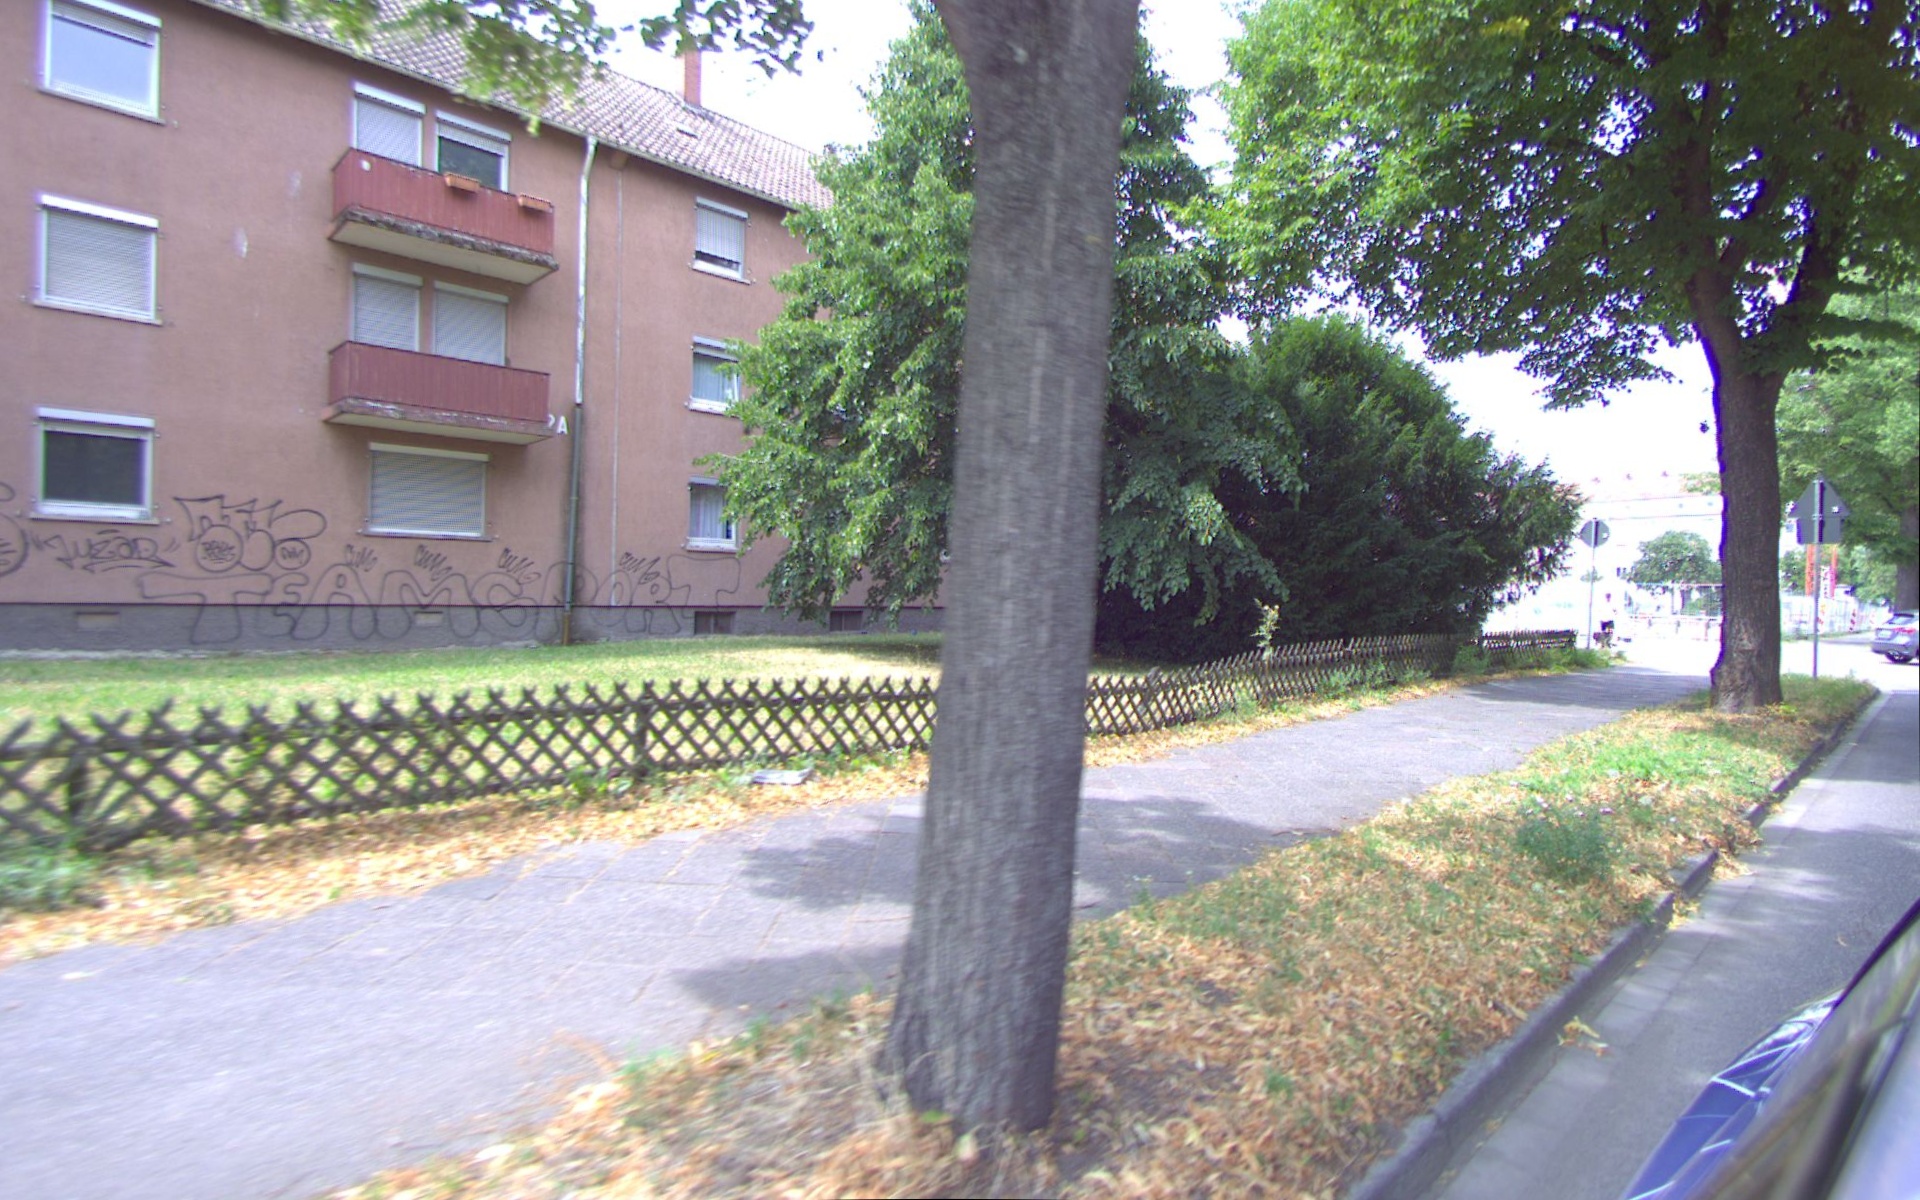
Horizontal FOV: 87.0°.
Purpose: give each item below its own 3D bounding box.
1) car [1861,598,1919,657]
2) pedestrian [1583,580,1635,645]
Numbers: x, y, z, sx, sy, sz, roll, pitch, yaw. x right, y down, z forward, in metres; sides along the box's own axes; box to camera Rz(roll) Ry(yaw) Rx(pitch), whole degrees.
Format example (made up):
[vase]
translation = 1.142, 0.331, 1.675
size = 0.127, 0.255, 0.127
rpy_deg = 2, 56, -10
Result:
[car]
translation = 25.732, 0.704, 25.294
size = 4.329, 1.461, 1.998
rpy_deg = 0, -1, 20
[pedestrian]
translation = 19.108, 0.364, 29.807
size = 0.870, 1.836, 0.887
rpy_deg = 2, 2, -25
